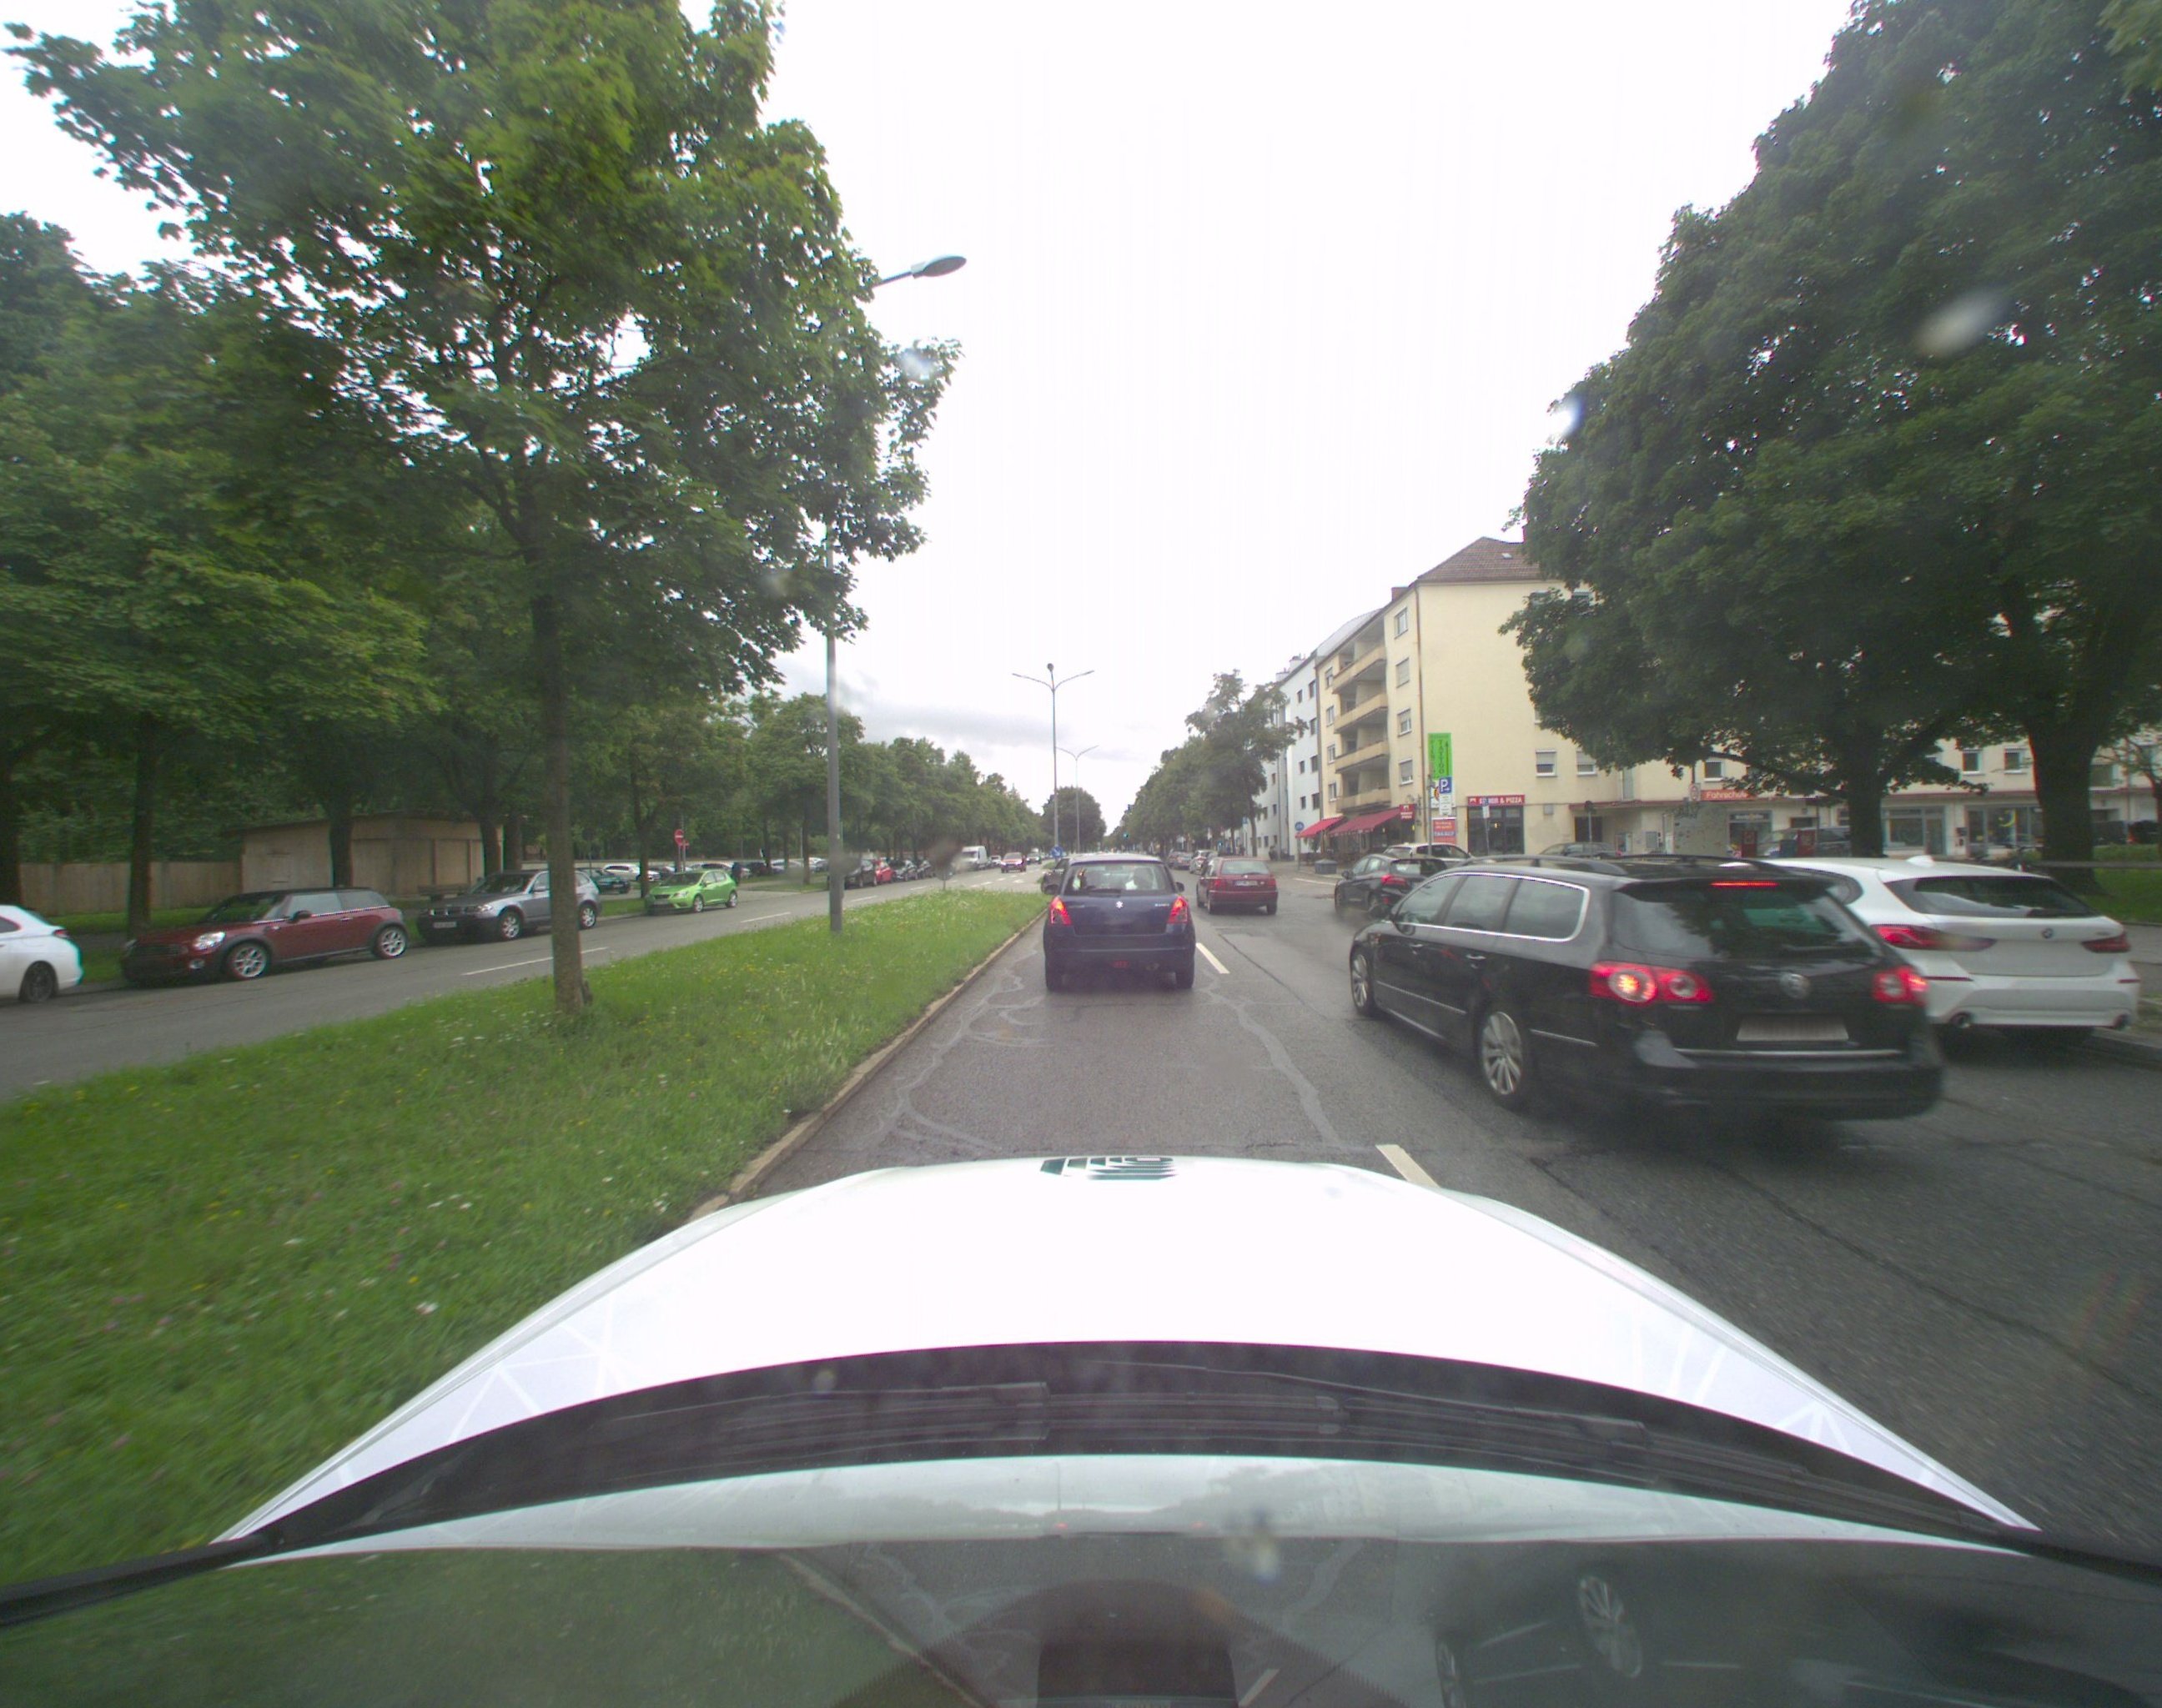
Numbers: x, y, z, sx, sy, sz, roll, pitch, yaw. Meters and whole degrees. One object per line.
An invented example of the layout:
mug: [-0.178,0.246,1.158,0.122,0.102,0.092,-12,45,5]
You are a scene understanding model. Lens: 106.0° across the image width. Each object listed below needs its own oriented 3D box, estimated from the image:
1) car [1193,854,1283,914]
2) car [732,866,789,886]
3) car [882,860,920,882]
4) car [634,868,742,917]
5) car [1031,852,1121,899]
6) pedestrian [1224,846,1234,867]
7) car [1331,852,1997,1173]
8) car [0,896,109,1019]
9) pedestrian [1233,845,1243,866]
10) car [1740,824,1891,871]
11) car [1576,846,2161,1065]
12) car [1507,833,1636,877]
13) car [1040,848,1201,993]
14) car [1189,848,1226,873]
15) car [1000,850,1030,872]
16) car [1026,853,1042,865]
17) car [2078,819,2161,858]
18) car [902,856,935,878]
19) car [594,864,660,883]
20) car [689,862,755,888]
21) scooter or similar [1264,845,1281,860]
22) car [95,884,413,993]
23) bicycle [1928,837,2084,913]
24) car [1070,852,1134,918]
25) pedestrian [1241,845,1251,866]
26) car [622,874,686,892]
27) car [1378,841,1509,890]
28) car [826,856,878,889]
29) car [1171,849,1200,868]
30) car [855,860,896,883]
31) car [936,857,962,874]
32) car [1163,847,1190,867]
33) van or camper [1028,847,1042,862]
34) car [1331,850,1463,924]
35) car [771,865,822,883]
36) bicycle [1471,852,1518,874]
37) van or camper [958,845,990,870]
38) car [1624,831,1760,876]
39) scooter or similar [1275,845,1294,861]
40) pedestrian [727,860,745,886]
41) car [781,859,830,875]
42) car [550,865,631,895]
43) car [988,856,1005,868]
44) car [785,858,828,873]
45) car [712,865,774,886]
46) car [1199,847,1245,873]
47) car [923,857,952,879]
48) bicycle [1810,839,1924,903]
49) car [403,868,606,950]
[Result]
car: [3.910,0.699,20.830,1.676,1.383,3.920,0,0,2]
car: [-25.550,1.753,65.061,3.858,1.445,1.670,-1,0,-4]
car: [-12.290,1.129,55.746,1.661,1.445,3.880,-1,0,1]
car: [-13.466,1.283,28.198,1.540,1.409,3.884,-3,0,4]
car: [-0.247,0.685,27.724,1.690,1.463,3.704,-1,0,-24]
pedestrian: [14.630,0.227,80.580,0.791,2.013,1.007,-1,0,2]
car: [3.315,0.709,5.901,1.725,1.432,4.443,0,0,1]
car: [-14.154,1.354,8.963,1.601,1.444,4.281,-3,0,2]
pedestrian: [15.502,0.149,80.493,0.791,2.013,1.007,-1,0,2]
car: [31.234,-0.289,34.734,4.719,1.773,1.872,-2,0,0]
car: [6.694,0.683,7.624,1.676,1.465,4.138,1,0,1]
car: [20.746,0.023,34.559,4.382,1.661,1.870,-2,0,-3]
car: [0.454,0.689,10.534,1.676,1.502,3.920,-1,0,1]
car: [8.236,0.403,53.329,1.785,1.558,4.225,-2,0,1]
car: [-5.546,0.597,69.111,1.896,1.696,4.248,-4,0,3]
car: [-6.673,0.662,116.603,1.760,1.623,4.508,-3,0,2]
car: [46.343,-0.645,35.099,4.723,1.661,1.870,0,0,-3]
car: [-12.153,0.929,61.097,1.585,1.558,3.880,-1,0,1]
car: [-37.198,1.596,66.772,4.488,1.476,1.674,-1,-1,2]
car: [-25.436,1.463,57.784,3.910,1.718,1.670,-1,0,-4]
scooter or similar: [17.584,-0.113,74.739,1.028,1.307,2.757,-2,0,3]
car: [-13.950,1.343,14.078,1.584,1.397,3.634,-3,0,4]
bicycle: [14.442,0.314,12.793,0.380,1.103,1.885,-1,0,3]
car: [0.502,0.705,20.169,1.439,1.483,3.107,-1,0,1]
pedestrian: [16.314,0.141,80.544,0.791,2.013,1.007,-1,0,2]
car: [-37.059,2.500,70.750,4.672,1.445,1.674,-1,0,2]
car: [13.053,0.389,29.289,4.413,1.661,1.857,0,0,-24]
car: [-12.771,0.994,45.645,1.710,1.741,3.880,-1,0,1]
car: [8.494,0.346,66.598,1.859,1.517,4.224,-2,0,0]
car: [-12.734,1.069,50.646,1.585,1.312,3.381,-1,0,1]
car: [-11.776,1.036,72.808,1.626,1.431,3.880,-1,0,1]
car: [8.360,0.232,71.330,1.859,1.682,4.224,-2,0,0]
van or camper: [-10.314,0.133,183.792,2.552,3.296,6.939,-1,0,1]
car: [6.854,0.665,18.048,1.611,1.465,3.676,0,0,2]
car: [-24.565,1.728,70.401,3.858,1.445,1.670,-1,0,-4]
bicycle: [18.528,0.390,36.490,1.841,0.957,0.557,-1,0,0]
van or camper: [-11.345,0.364,86.994,2.108,2.482,7.454,-1,0,3]
car: [25.757,-0.028,34.419,4.380,1.661,1.871,-2,0,-1]
scooter or similar: [17.713,-0.107,70.874,1.028,1.307,2.757,-2,0,3]
pedestrian: [-20.350,1.125,48.057,0.724,1.534,0.721,-1,0,2]
car: [-24.901,1.164,73.598,3.858,1.445,1.670,-1,0,-4]
car: [-25.711,1.335,42.678,4.363,1.445,1.973,-1,-1,34]
car: [-10.659,0.995,102.512,1.626,1.583,3.880,-1,0,1]
car: [-27.799,1.185,82.555,3.858,1.445,1.670,-1,0,-4]
car: [-25.136,1.603,60.641,3.858,1.445,1.670,-1,0,-4]
car: [8.342,0.341,48.548,1.860,1.417,4.222,-2,0,-1]
car: [-11.875,1.168,67.471,1.626,1.741,3.880,-1,0,1]
bicycle: [14.513,0.299,15.101,0.387,1.105,1.855,-1,0,3]
car: [-13.787,1.233,19.866,1.684,1.586,4.372,-3,0,1]
